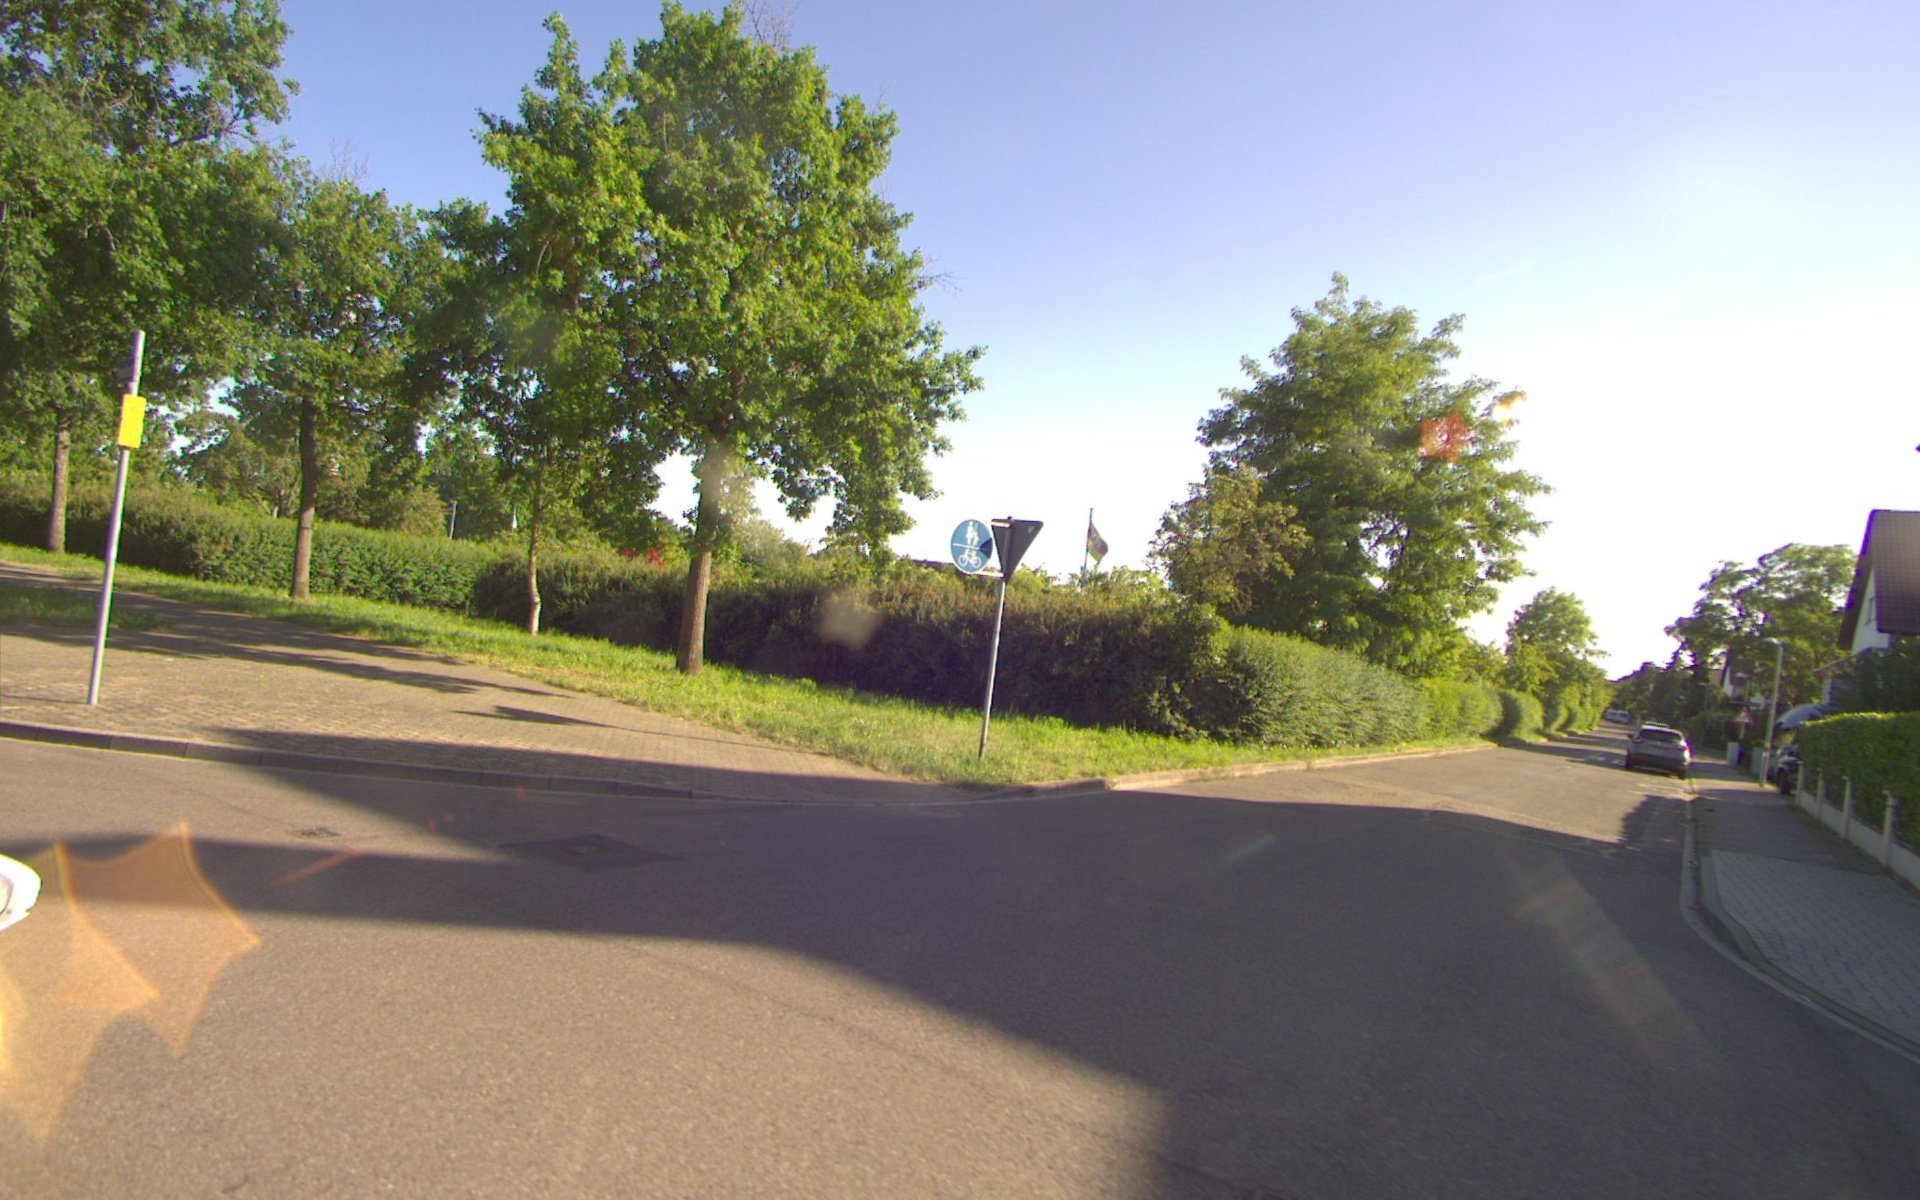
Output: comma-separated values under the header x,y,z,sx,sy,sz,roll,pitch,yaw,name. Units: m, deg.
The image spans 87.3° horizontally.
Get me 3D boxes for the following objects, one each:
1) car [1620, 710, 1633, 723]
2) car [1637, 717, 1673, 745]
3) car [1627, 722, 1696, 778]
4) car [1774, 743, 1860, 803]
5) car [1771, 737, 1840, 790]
x,y,z,sx,sy,sz,roll,pitch,yaw,name
130.638,22.841,197.229,1.968,2.326,5.035,6,-2,34,car
51.319,9.630,74.255,1.969,1.726,3.989,6,-2,36,car
24.241,5.116,34.727,1.679,1.548,3.987,6,-2,37,car
24.630,4.937,29.017,1.620,1.305,3.770,6,-2,38,car
29.765,5.715,35.503,1.620,1.442,3.986,6,-2,38,car
